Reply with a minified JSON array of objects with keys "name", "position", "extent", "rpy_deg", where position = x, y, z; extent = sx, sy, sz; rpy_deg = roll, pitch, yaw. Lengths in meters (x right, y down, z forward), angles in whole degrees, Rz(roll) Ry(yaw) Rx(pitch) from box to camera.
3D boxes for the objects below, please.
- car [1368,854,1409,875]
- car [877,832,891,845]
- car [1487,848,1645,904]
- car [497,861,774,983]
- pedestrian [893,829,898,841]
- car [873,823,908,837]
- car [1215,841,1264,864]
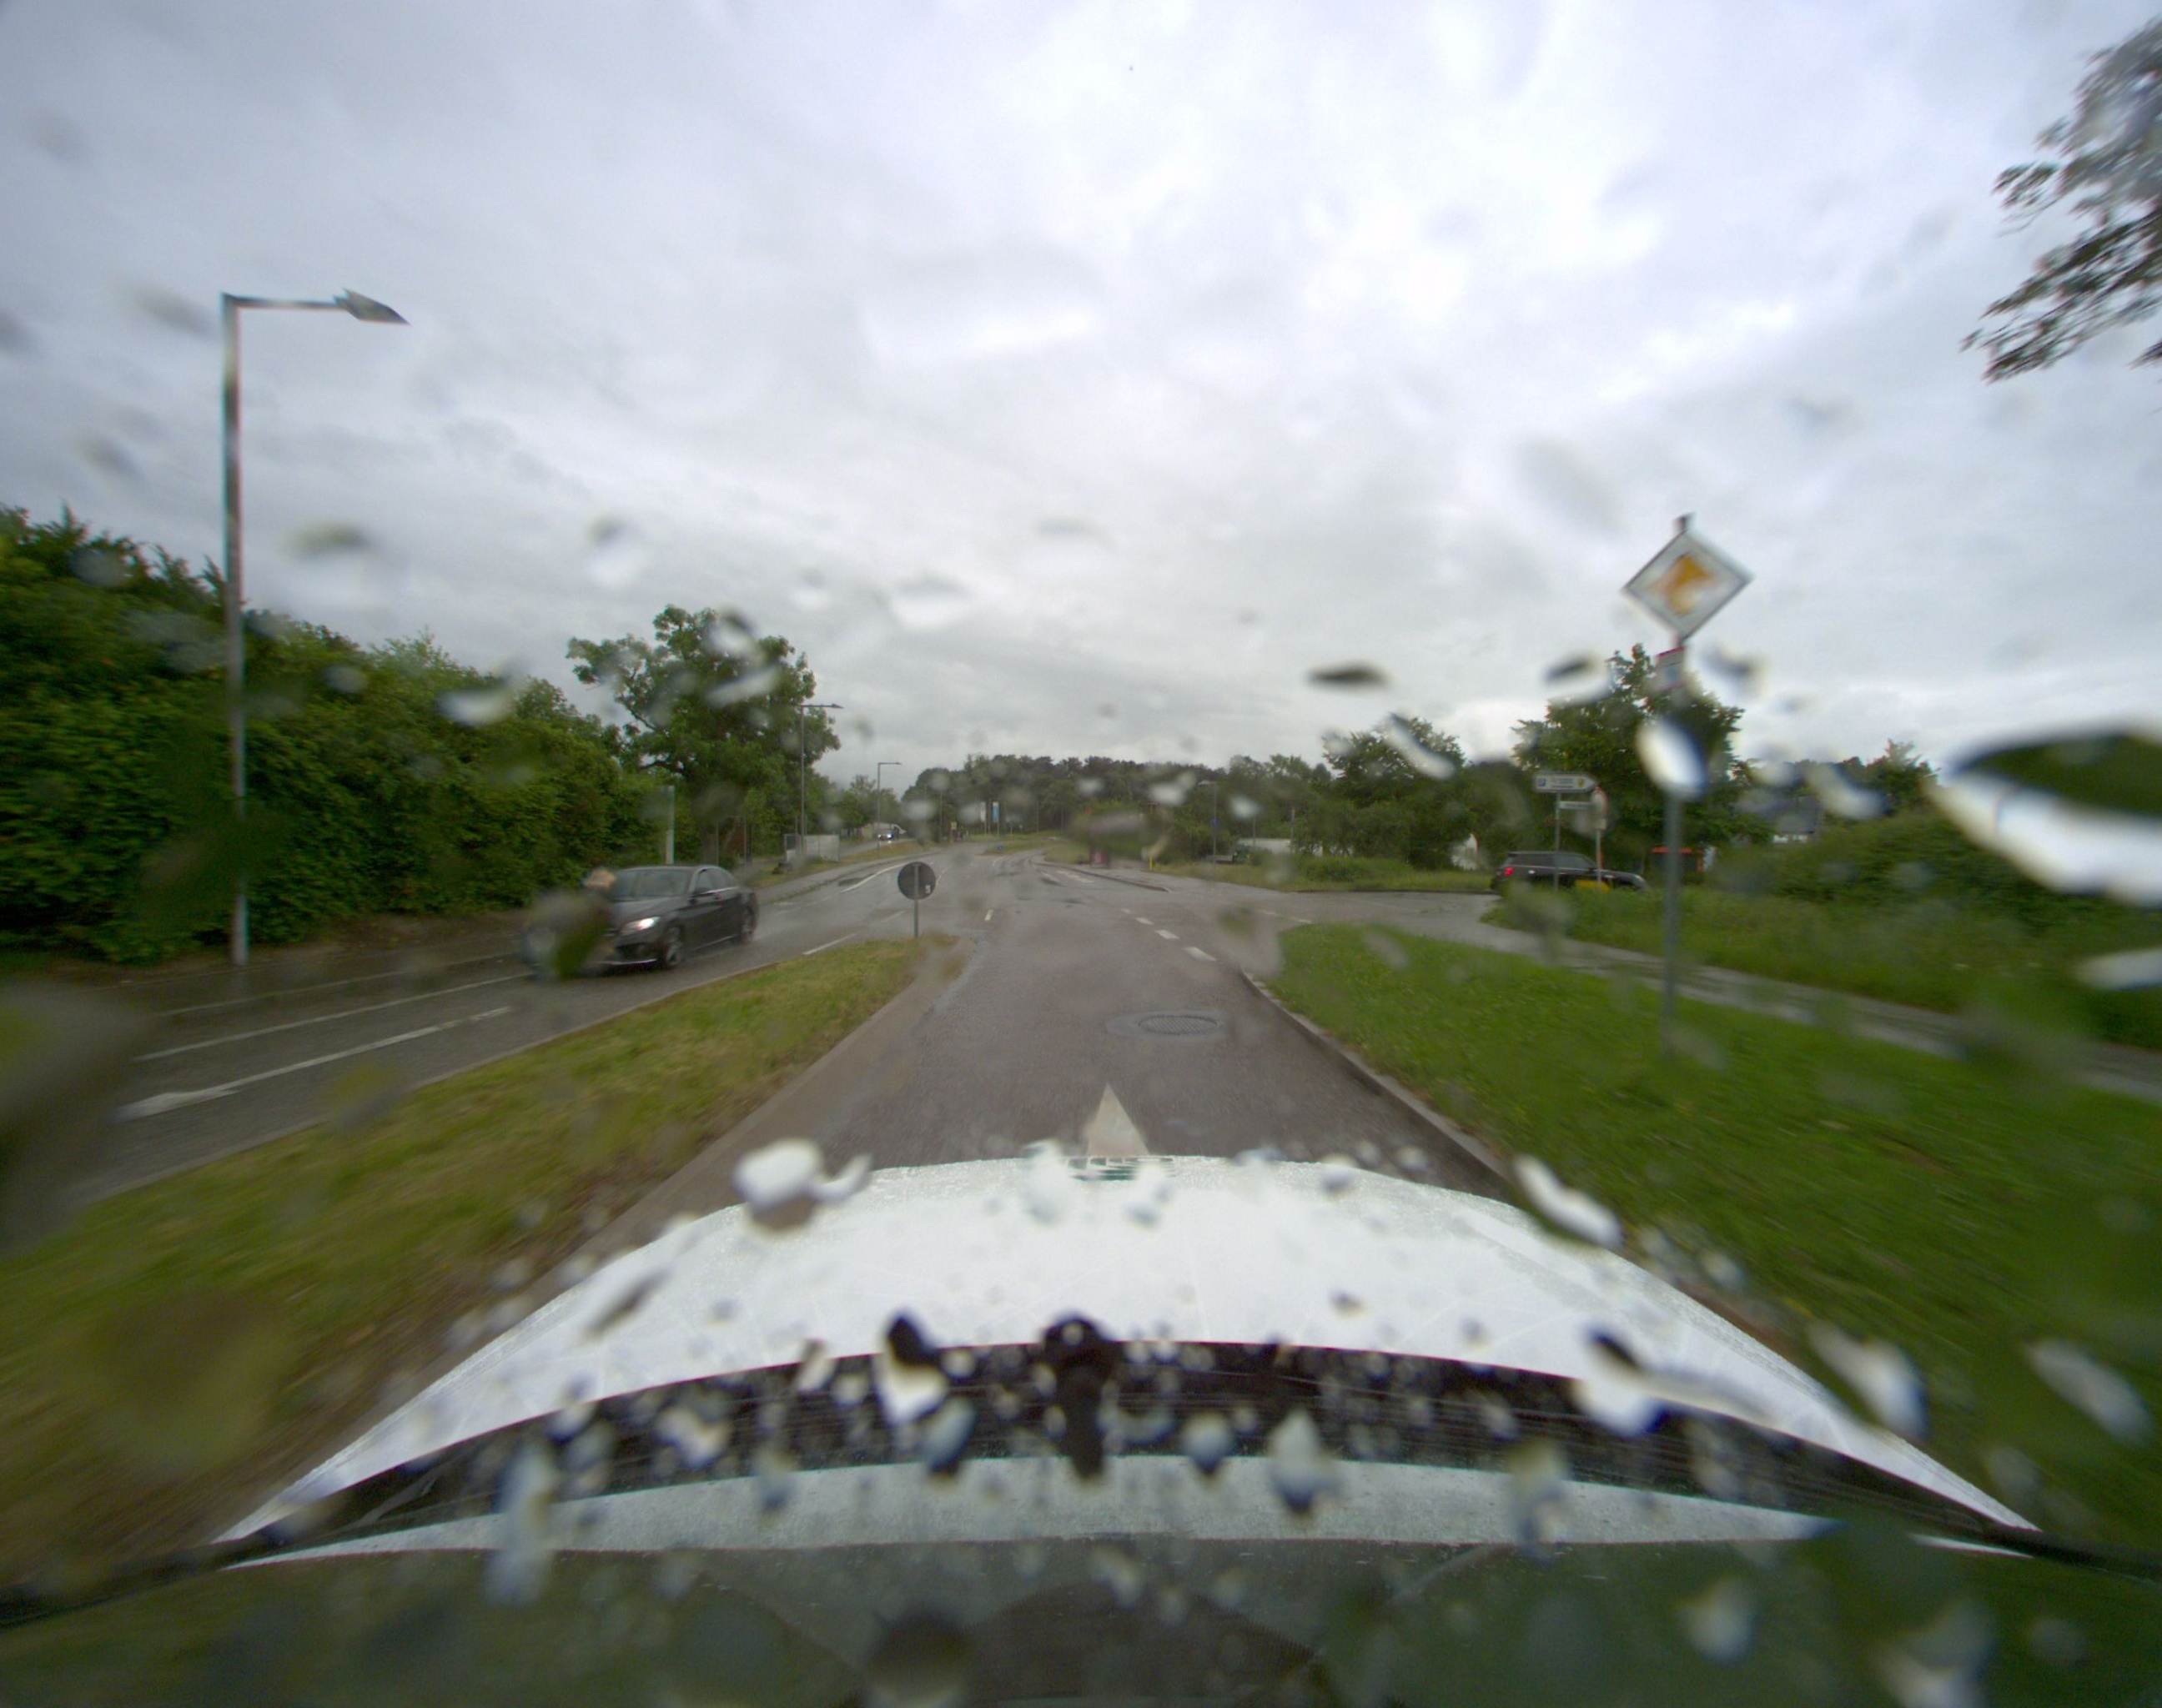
[{"name":"car","position":[23.682,0.778,62.802],"extent":[1.921,1.508,4.005],"rpy_deg":[-1,1,4]},{"name":"car","position":[-27.236,-2.154,112.416],"extent":[1.693,1.620,3.871],"rpy_deg":[0,0,-18]},{"name":"car","position":[13.350,0.584,22.602],"extent":[3.494,1.355,1.466],"rpy_deg":[2,0,18]},{"name":"car","position":[-6.353,0.855,12.316],"extent":[1.964,1.414,4.409],"rpy_deg":[-2,0,-4]},{"name":"pedestrian","position":[-25.812,-2.605,113.449],"extent":[0.567,1.620,0.633],"rpy_deg":[0,-1,-18]},{"name":"car","position":[-33.643,-4.171,143.858],"extent":[5.670,2.404,1.995],"rpy_deg":[0,0,-7]},{"name":"car","position":[13.091,-0.102,67.284],"extent":[3.380,1.691,2.011],"rpy_deg":[-2,-5,43]}]
